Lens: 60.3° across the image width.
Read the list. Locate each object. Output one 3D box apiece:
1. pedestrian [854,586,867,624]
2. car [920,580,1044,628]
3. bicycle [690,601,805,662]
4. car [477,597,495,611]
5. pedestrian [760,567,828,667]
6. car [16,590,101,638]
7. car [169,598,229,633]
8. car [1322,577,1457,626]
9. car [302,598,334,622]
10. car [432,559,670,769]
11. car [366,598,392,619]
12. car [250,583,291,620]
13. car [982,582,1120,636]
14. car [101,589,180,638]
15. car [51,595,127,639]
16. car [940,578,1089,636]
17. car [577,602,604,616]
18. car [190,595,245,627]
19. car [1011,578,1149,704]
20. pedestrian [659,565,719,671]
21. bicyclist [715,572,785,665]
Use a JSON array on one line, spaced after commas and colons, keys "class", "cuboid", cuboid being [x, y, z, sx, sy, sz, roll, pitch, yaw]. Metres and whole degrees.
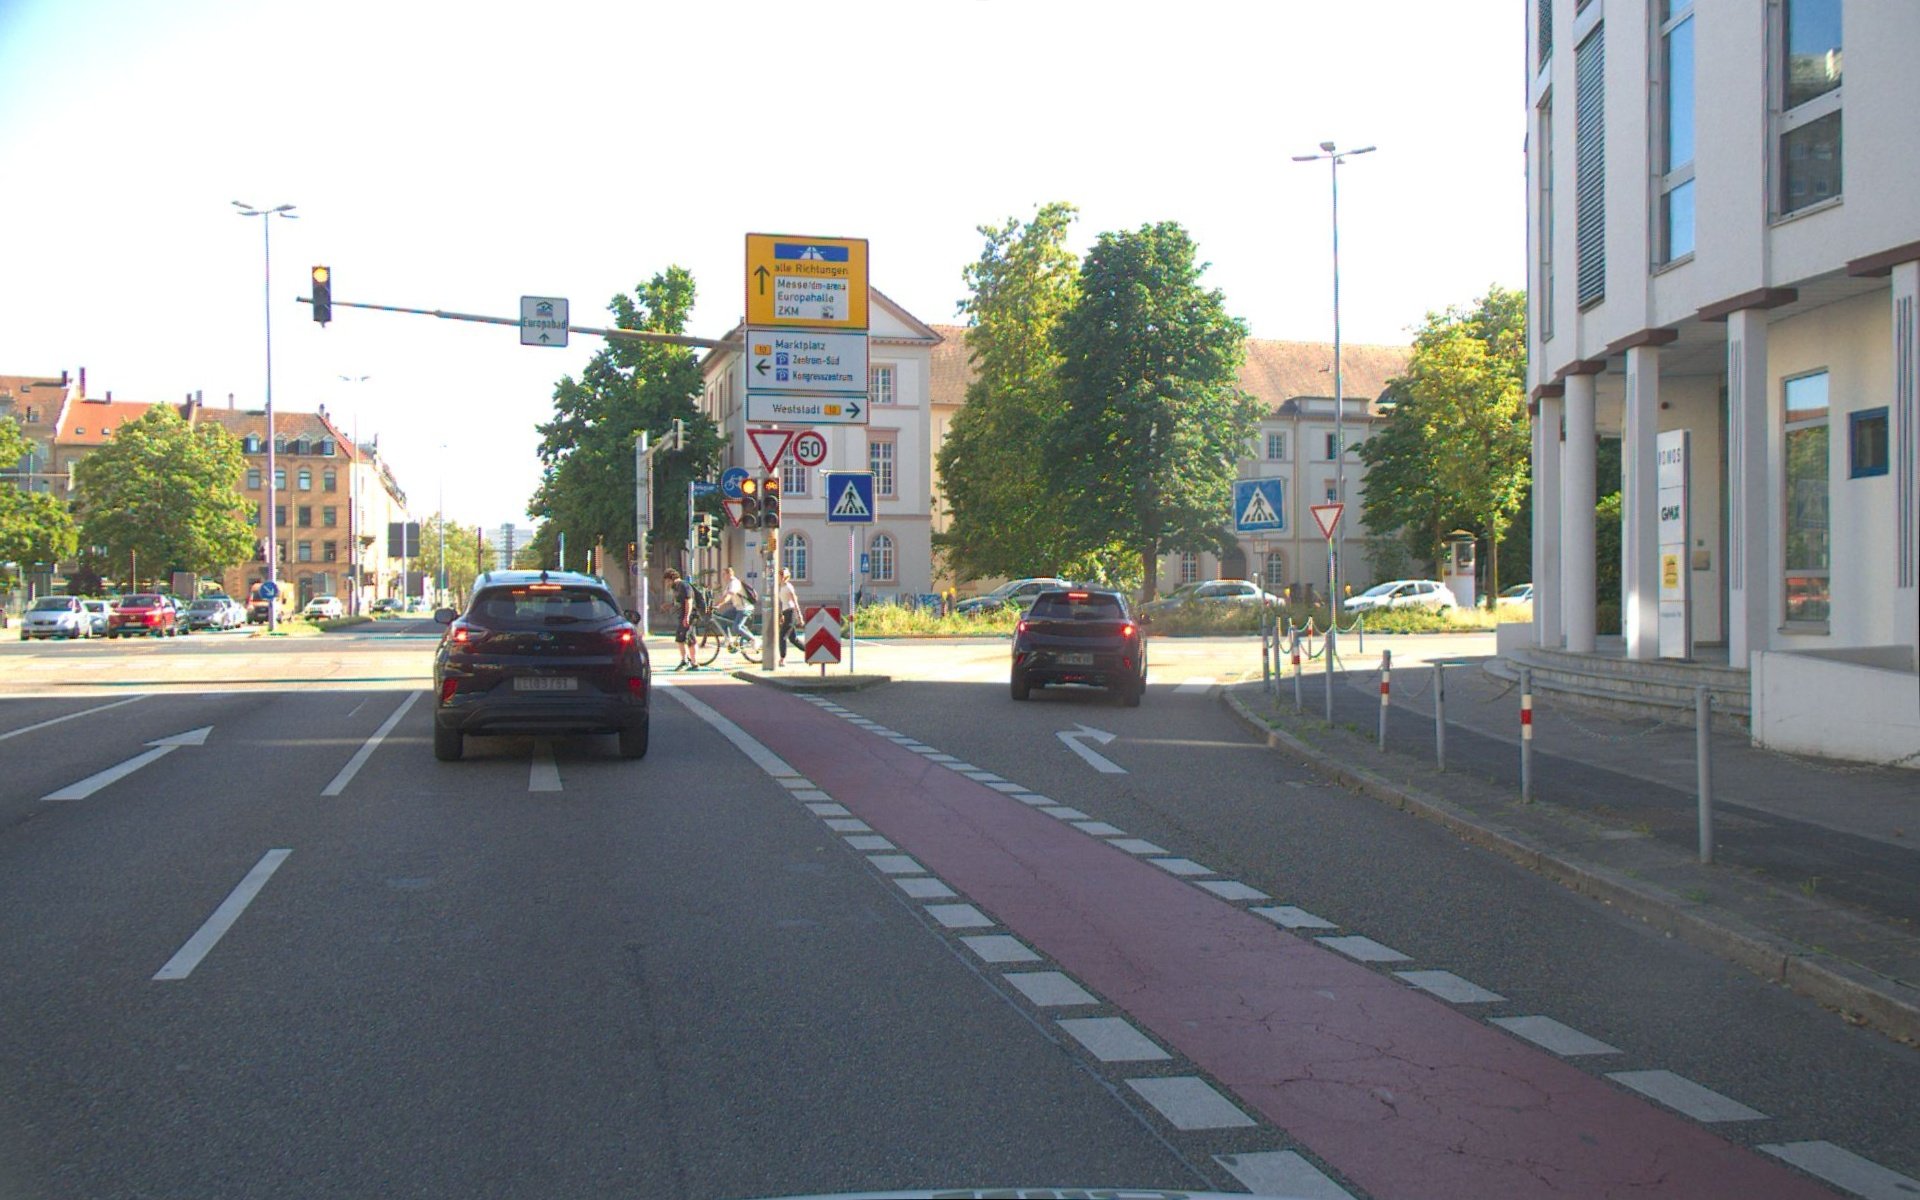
[{"class": "pedestrian", "cuboid": [-4.250, 0.215, 70.621, 0.432, 1.643, 0.466, 2, -1, -10]}, {"class": "car", "cuboid": [0.789, 0.112, 59.057, 4.058, 1.629, 1.810, -1, 1, -23]}, {"class": "bicycle", "cuboid": [-3.867, 0.566, 30.144, 2.000, 1.079, 0.618, 0, 0, -19]}, {"class": "car", "cuboid": [-49.719, 0.413, 173.524, 1.781, 1.473, 3.983, -1, 1, -16]}, {"class": "pedestrian", "cuboid": [-2.882, 0.277, 28.662, 1.025, 1.689, 0.780, -1, 1, -18]}, {"class": "car", "cuboid": [-32.700, 0.488, 60.122, 1.844, 1.645, 3.983, -1, 1, -16]}, {"class": "car", "cuboid": [-34.379, 0.666, 74.830, 1.844, 1.473, 3.983, -1, 1, -16]}, {"class": "car", "cuboid": [14.189, 0.019, 54.648, 4.117, 1.534, 1.810, -1, 1, -23]}, {"class": "car", "cuboid": [-46.399, 0.676, 119.616, 1.781, 1.662, 3.983, -1, 1, -16]}, {"class": "car", "cuboid": [-3.691, 0.466, 14.808, 1.800, 1.606, 3.823, -1, 1, -16]}, {"class": "car", "cuboid": [-48.746, 0.698, 138.774, 1.781, 1.662, 3.983, -1, 1, -16]}, {"class": "car", "cuboid": [-41.935, 0.087, 100.669, 1.781, 2.172, 3.983, -1, 1, -16]}, {"class": "car", "cuboid": [2.921, 0.272, 53.085, 4.058, 1.629, 1.810, -1, 1, -23]}, {"class": "car", "cuboid": [-29.346, 0.448, 59.337, 1.762, 1.645, 3.983, -1, 1, -15]}, {"class": "car", "cuboid": [-34.696, 0.650, 65.979, 1.844, 1.645, 3.983, -1, 1, -16]}, {"class": "car", "cuboid": [1.613, 0.192, 48.887, 4.058, 1.629, 1.810, -1, 1, -23]}, {"class": "car", "cuboid": [-38.546, 0.919, 172.784, 1.772, 1.431, 4.001, 0, 1, 2]}, {"class": "car", "cuboid": [-35.969, 0.522, 80.229, 1.844, 1.473, 3.983, -1, 1, -16]}, {"class": "car", "cuboid": [1.757, 0.528, 23.205, 1.708, 1.601, 3.561, 1, 0, 7]}, {"class": "pedestrian", "cuboid": [-4.502, 0.293, 27.485, 0.814, 1.731, 0.912, 0, 0, -21]}, {"class": "bicyclist", "cuboid": [-3.838, 0.326, 30.138, 1.147, 1.662, 0.725, 0, 0, -19]}]
